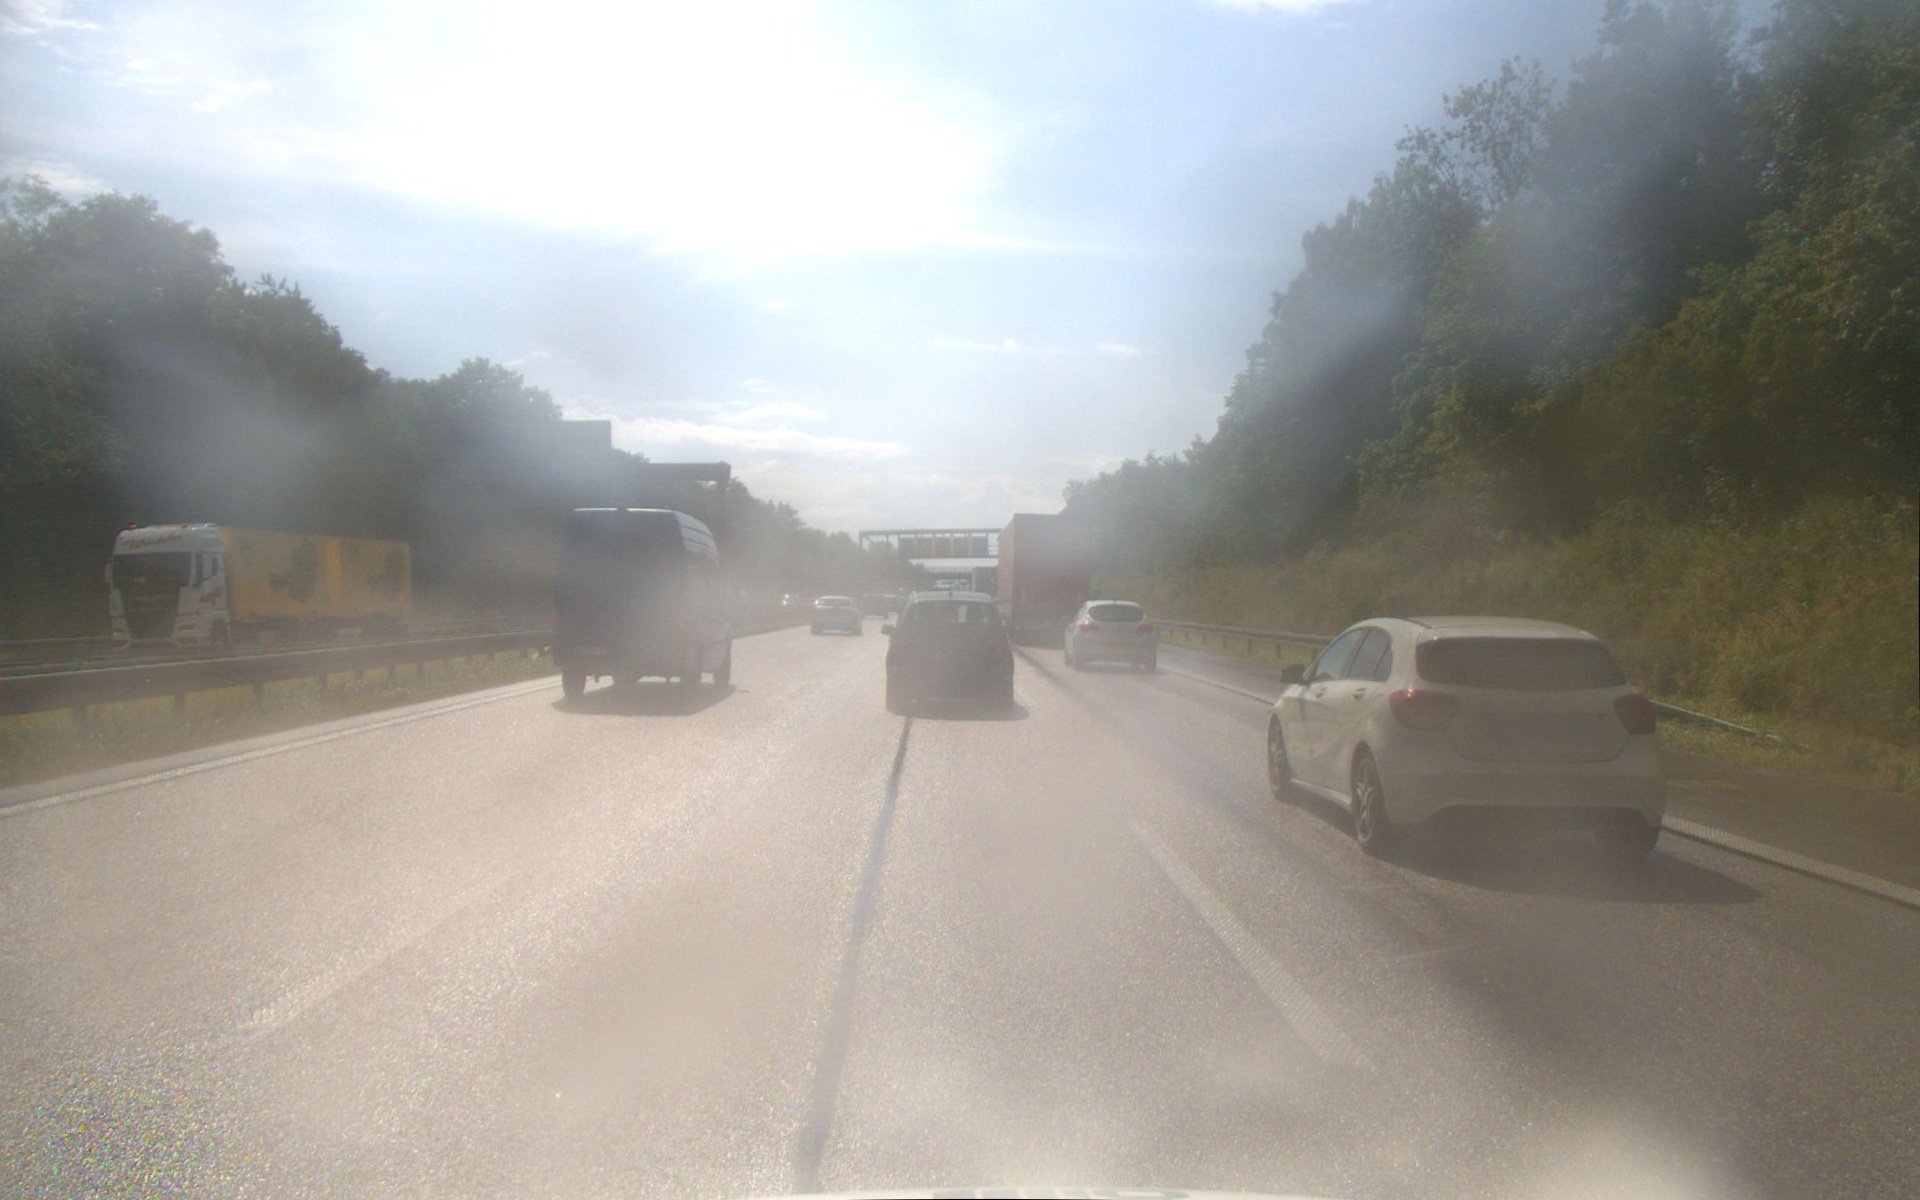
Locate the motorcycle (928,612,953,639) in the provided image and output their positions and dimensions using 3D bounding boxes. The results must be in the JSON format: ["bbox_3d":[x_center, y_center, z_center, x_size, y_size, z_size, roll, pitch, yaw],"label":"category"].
[{"bbox_3d":[-0.758,0.991,64.485,0.873,1.018,2.895,1,0,-2],"label":"motorcycle"}]

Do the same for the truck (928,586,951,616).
[{"bbox_3d":[-2.062,0.092,164.180,2.148,2.926,4.847,1,0,-2],"label":"truck"}]

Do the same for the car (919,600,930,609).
[{"bbox_3d":[-5.217,0.630,241.162,1.518,1.289,3.483,1,0,-3],"label":"car"}]

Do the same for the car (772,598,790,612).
[{"bbox_3d":[-19.041,0.531,176.122,1.538,1.410,3.791,1,0,-1],"label":"car"}]

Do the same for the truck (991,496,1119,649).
[{"bbox_3d":[3.194,-0.855,61.227,3.575,4.803,16.776,1,0,0],"label":"truck"}]

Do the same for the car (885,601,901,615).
[{"bbox_3d":[-6.574,0.748,161.699,1.518,1.289,3.483,1,0,-3],"label":"car"}]

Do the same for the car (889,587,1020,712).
[{"bbox_3d":[-0.137,0.651,23.224,1.683,1.595,3.483,1,0,-2],"label":"car"}]

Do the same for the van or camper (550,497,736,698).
[{"bbox_3d":[-4.715,-0.028,25.383,1.953,2.715,5.382,1,0,-2],"label":"van or camper"}]

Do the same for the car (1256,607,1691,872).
[{"bbox_3d":[3.273,0.797,11.429,1.657,1.450,4.219,1,0,0],"label":"car"}]

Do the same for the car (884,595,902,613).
[{"bbox_3d":[-5.498,0.338,136.631,1.431,1.418,3.310,1,0,-2],"label":"car"}]

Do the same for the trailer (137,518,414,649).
[{"bbox_3d":[-22.383,-0.464,55.794,2.667,3.708,16.672,1,0,-1],"label":"trailer"}]

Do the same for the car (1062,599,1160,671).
[{"bbox_3d":[3.262,0.738,36.354,1.647,1.467,3.903,1,0,-2],"label":"car"}]

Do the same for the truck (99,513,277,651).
[{"bbox_3d":[-22.250,-0.478,47.986,2.667,3.728,5.330,1,0,-1],"label":"truck"}]

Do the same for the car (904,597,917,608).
[{"bbox_3d":[-6.175,0.327,207.363,1.518,1.289,3.483,1,0,-3],"label":"car"}]

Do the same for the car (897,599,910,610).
[{"bbox_3d":[-6.624,0.508,193.677,1.518,1.289,3.483,1,0,-3],"label":"car"}]

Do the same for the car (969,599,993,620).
[{"bbox_3d":[1.454,0.651,115.524,1.521,1.407,3.208,1,0,-2],"label":"car"}]

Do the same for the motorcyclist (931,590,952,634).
[{"bbox_3d":[-0.732,0.462,64.444,0.785,1.662,1.013,1,0,-2],"label":"motorcyclist"}]

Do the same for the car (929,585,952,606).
[{"bbox_3d":[-1.359,-0.299,116.208,1.521,1.407,3.208,1,0,-2],"label":"car"}]

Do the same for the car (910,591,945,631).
[{"bbox_3d":[-1.520,0.482,76.526,1.501,1.777,3.483,1,0,-2],"label":"car"}]

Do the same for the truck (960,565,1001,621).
[{"bbox_3d":[1.715,-0.548,142.263,3.189,4.558,12.419,1,0,0],"label":"truck"}]

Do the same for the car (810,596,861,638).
[{"bbox_3d":[-4.855,0.642,64.757,1.817,1.578,3.483,1,0,-2],"label":"car"}]

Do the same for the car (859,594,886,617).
[{"bbox_3d":[-5.833,0.341,110.588,1.716,1.482,3.388,1,0,-2],"label":"car"}]
